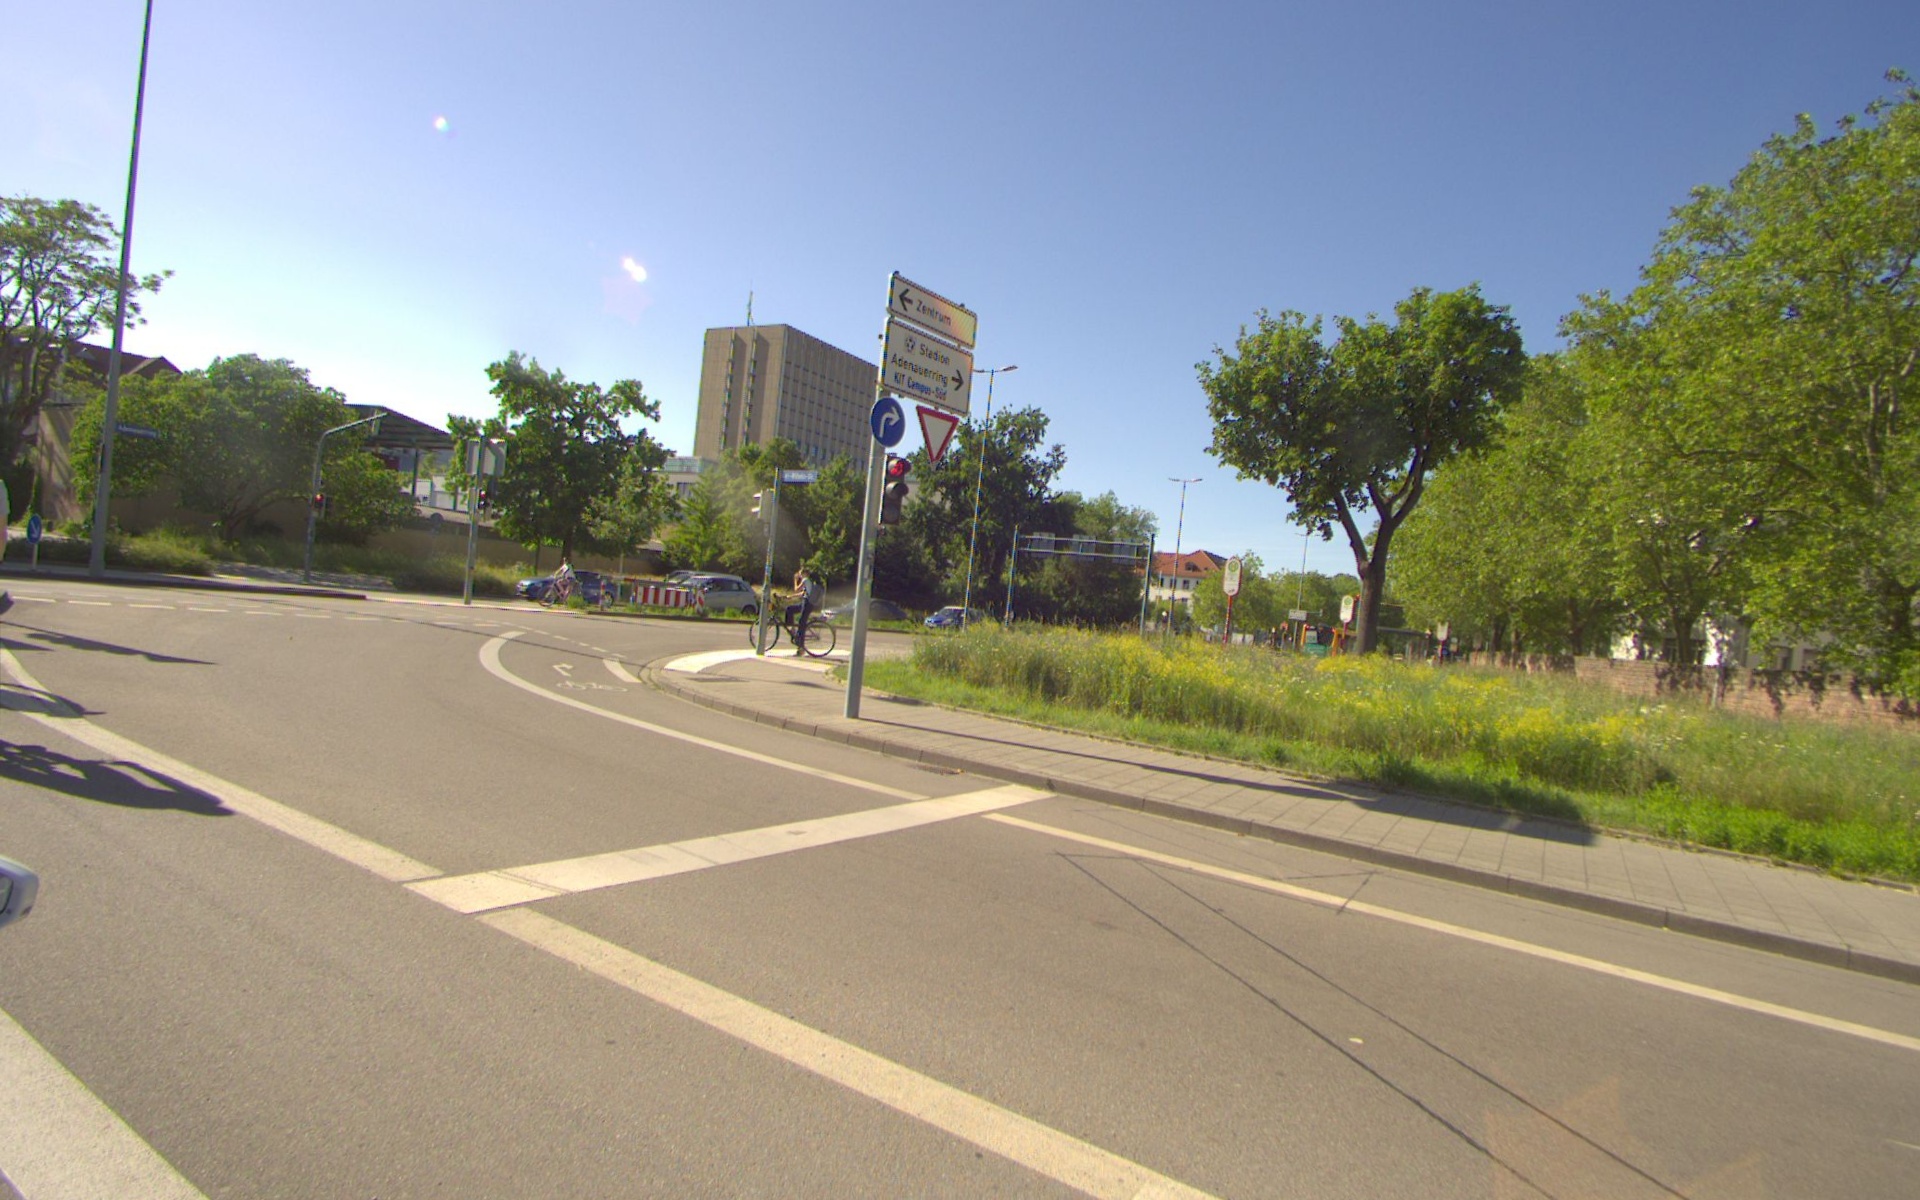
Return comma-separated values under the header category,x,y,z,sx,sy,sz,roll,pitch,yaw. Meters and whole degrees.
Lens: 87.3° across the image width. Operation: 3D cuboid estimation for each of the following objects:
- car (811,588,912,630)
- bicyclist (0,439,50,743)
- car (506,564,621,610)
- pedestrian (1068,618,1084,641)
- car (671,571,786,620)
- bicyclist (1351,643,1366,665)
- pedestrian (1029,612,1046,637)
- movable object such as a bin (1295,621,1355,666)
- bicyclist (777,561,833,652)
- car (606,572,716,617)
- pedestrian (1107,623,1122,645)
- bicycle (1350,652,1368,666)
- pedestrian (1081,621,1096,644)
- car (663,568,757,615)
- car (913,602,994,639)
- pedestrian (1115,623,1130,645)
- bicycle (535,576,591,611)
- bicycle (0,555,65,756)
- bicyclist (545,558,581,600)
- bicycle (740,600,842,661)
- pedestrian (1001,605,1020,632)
category,x,y,z,sx,sy,sz,roll,pitch,yaw
car,-4.311,0.434,44.631,1.767,1.415,4.557,7,0,37
bicyclist,-6.308,-0.112,6.146,1.123,1.813,0.684,7,0,32
car,-16.213,-0.527,41.320,1.767,1.415,3.986,7,0,37
pedestrian,10.610,2.700,91.822,0.752,2.039,1.267,7,1,36
car,-8.742,-0.132,38.290,1.767,1.415,3.986,7,0,37
bicyclist,29.656,4.031,74.807,0.632,1.533,1.049,7,2,39
pedestrian,6.648,2.081,86.477,0.752,2.039,1.267,7,1,36
movable object such as a bin,28.008,3.419,76.905,2.954,2.898,9.178,6,0,27
bicyclist,-3.040,0.123,19.707,0.898,1.667,0.630,6,1,-9
car,-12.302,-0.201,41.572,1.767,1.415,3.986,7,0,37
pedestrian,15.368,3.401,100.136,0.752,2.039,1.267,7,1,36
bicycle,29.760,4.403,74.998,0.640,0.986,1.895,7,1,39
pedestrian,12.083,3.087,94.551,0.752,2.039,1.267,7,1,36
car,-11.845,-0.368,47.797,1.767,1.771,3.986,7,0,37
car,-0.297,1.048,50.458,1.916,1.415,3.986,6,0,37
pedestrian,15.987,3.392,98.879,0.752,2.039,1.267,7,1,36
bicycle,-13.939,-0.228,35.361,0.602,1.046,1.681,7,0,37
bicycle,-6.302,0.245,6.120,1.890,1.102,0.690,6,-1,32
bicyclist,-13.937,-0.724,35.284,0.602,1.360,0.874,7,1,37
bicycle,-3.293,0.590,19.679,1.856,0.970,0.635,7,1,-10
pedestrian,4.096,1.533,82.010,0.752,2.039,1.267,7,1,36
